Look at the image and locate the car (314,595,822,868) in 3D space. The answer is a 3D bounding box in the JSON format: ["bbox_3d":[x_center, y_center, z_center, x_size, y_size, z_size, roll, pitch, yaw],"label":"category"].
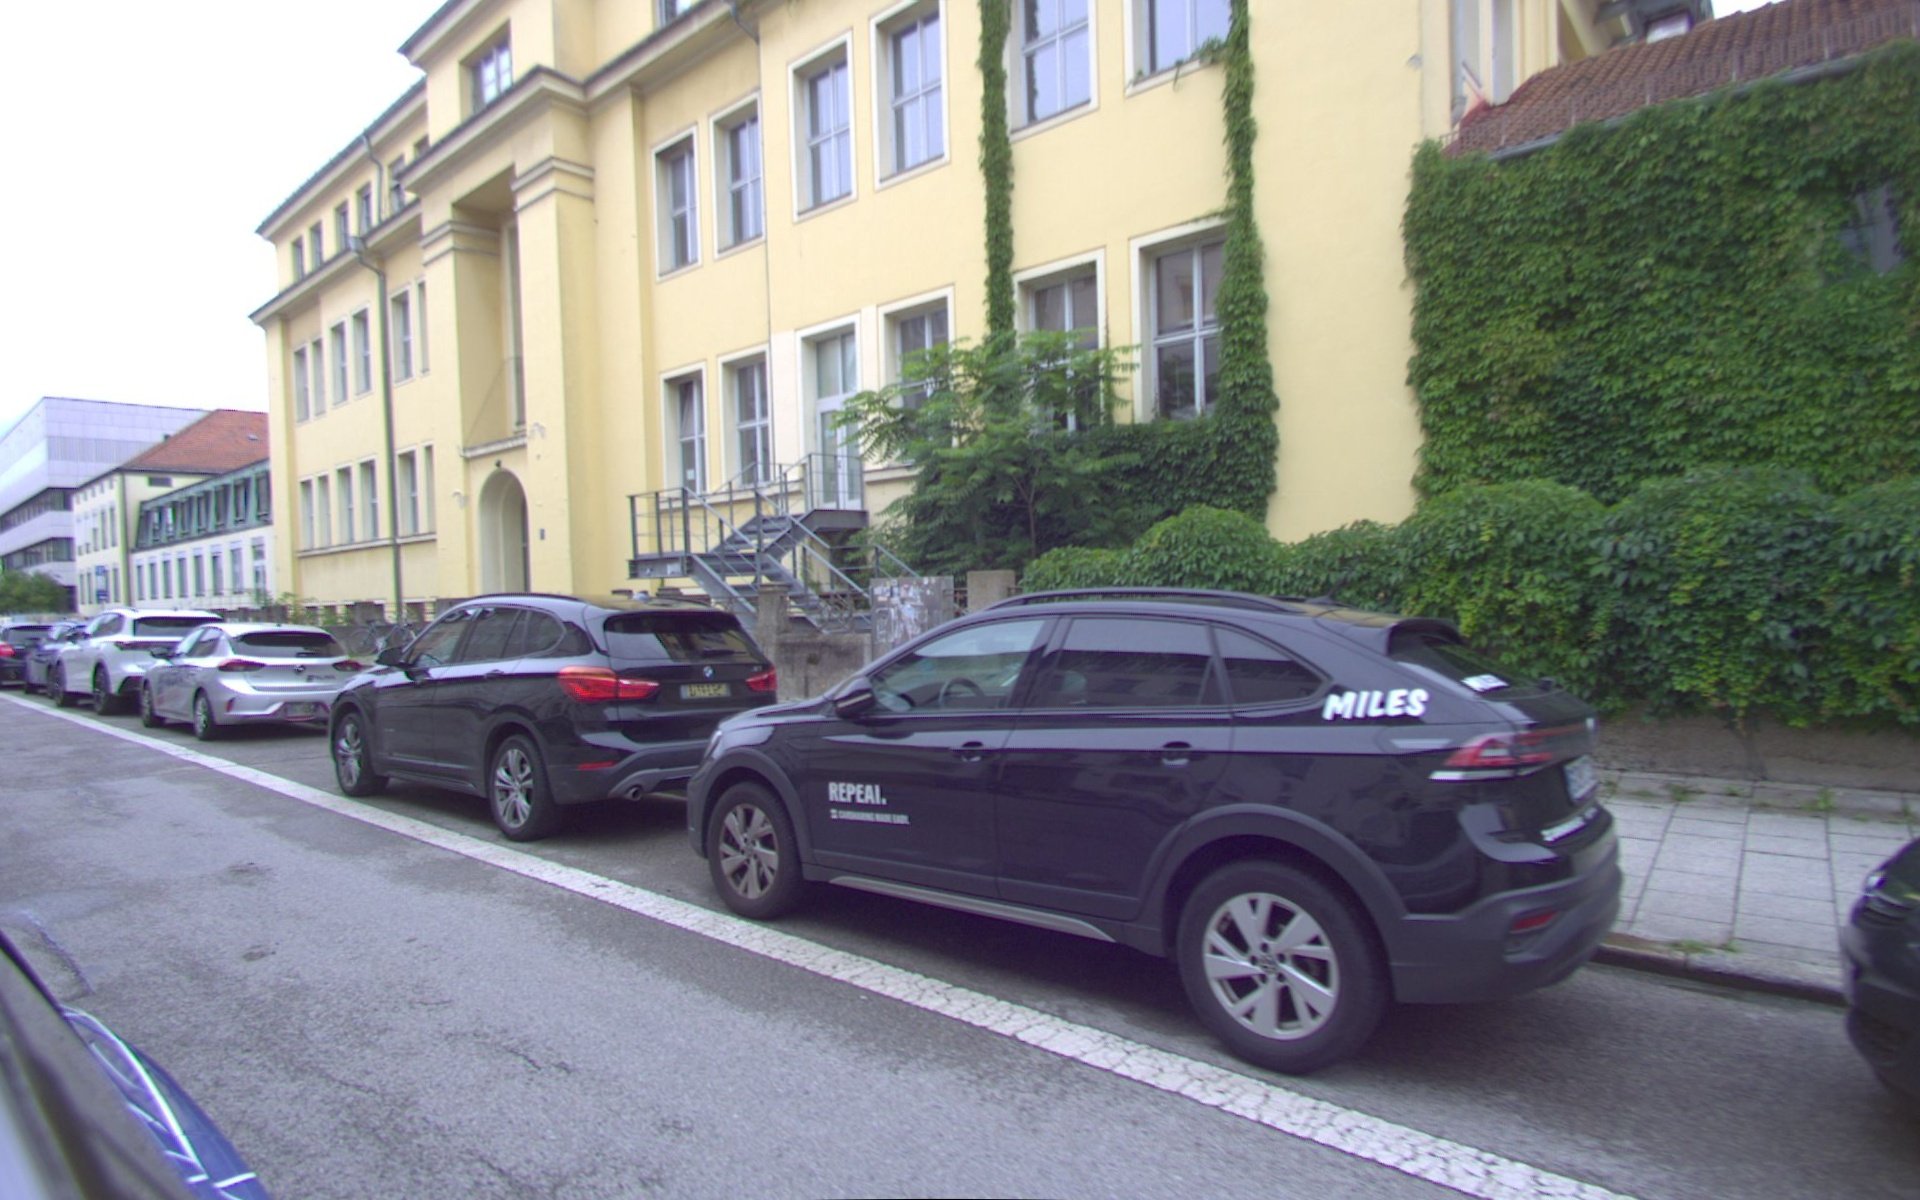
[{"bbox_3d":[-3.158,0.820,7.771,4.190,1.550,1.764,-2,-3,39],"label":"car"}]

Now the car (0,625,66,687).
[{"bbox_3d":[-25.353,1.467,26.942,4.084,1.539,1.705,-2,-4,40],"label":"car"}]

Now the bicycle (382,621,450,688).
[{"bbox_3d":[-10.436,1.023,19.393,1.561,1.197,0.571,-1,3,41],"label":"bicycle"}]

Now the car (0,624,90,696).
[{"bbox_3d":[-21.456,1.326,23.187,3.983,1.507,1.663,-1,-3,40],"label":"car"}]

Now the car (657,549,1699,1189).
[{"bbox_3d":[0.645,0.724,4.471,4.144,1.550,1.764,-2,-3,39],"label":"car"}]

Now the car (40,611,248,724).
[{"bbox_3d":[-13.541,1.066,16.707,4.350,1.646,1.664,-2,-4,38],"label":"car"}]

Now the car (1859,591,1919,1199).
[{"bbox_3d":[4.026,0.693,1.514,3.901,1.467,1.562,-2,-3,40],"label":"car"}]

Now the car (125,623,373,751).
[{"bbox_3d":[-9.410,1.053,13.289,3.891,1.437,1.663,-1,-4,40],"label":"car"}]

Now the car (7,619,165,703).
[{"bbox_3d":[-17.552,1.175,20.278,3.968,1.516,1.663,-2,-3,38],"label":"car"}]

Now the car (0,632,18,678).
[{"bbox_3d":[-30.935,1.701,31.588,3.992,1.408,1.658,-2,-3,38],"label":"car"}]
